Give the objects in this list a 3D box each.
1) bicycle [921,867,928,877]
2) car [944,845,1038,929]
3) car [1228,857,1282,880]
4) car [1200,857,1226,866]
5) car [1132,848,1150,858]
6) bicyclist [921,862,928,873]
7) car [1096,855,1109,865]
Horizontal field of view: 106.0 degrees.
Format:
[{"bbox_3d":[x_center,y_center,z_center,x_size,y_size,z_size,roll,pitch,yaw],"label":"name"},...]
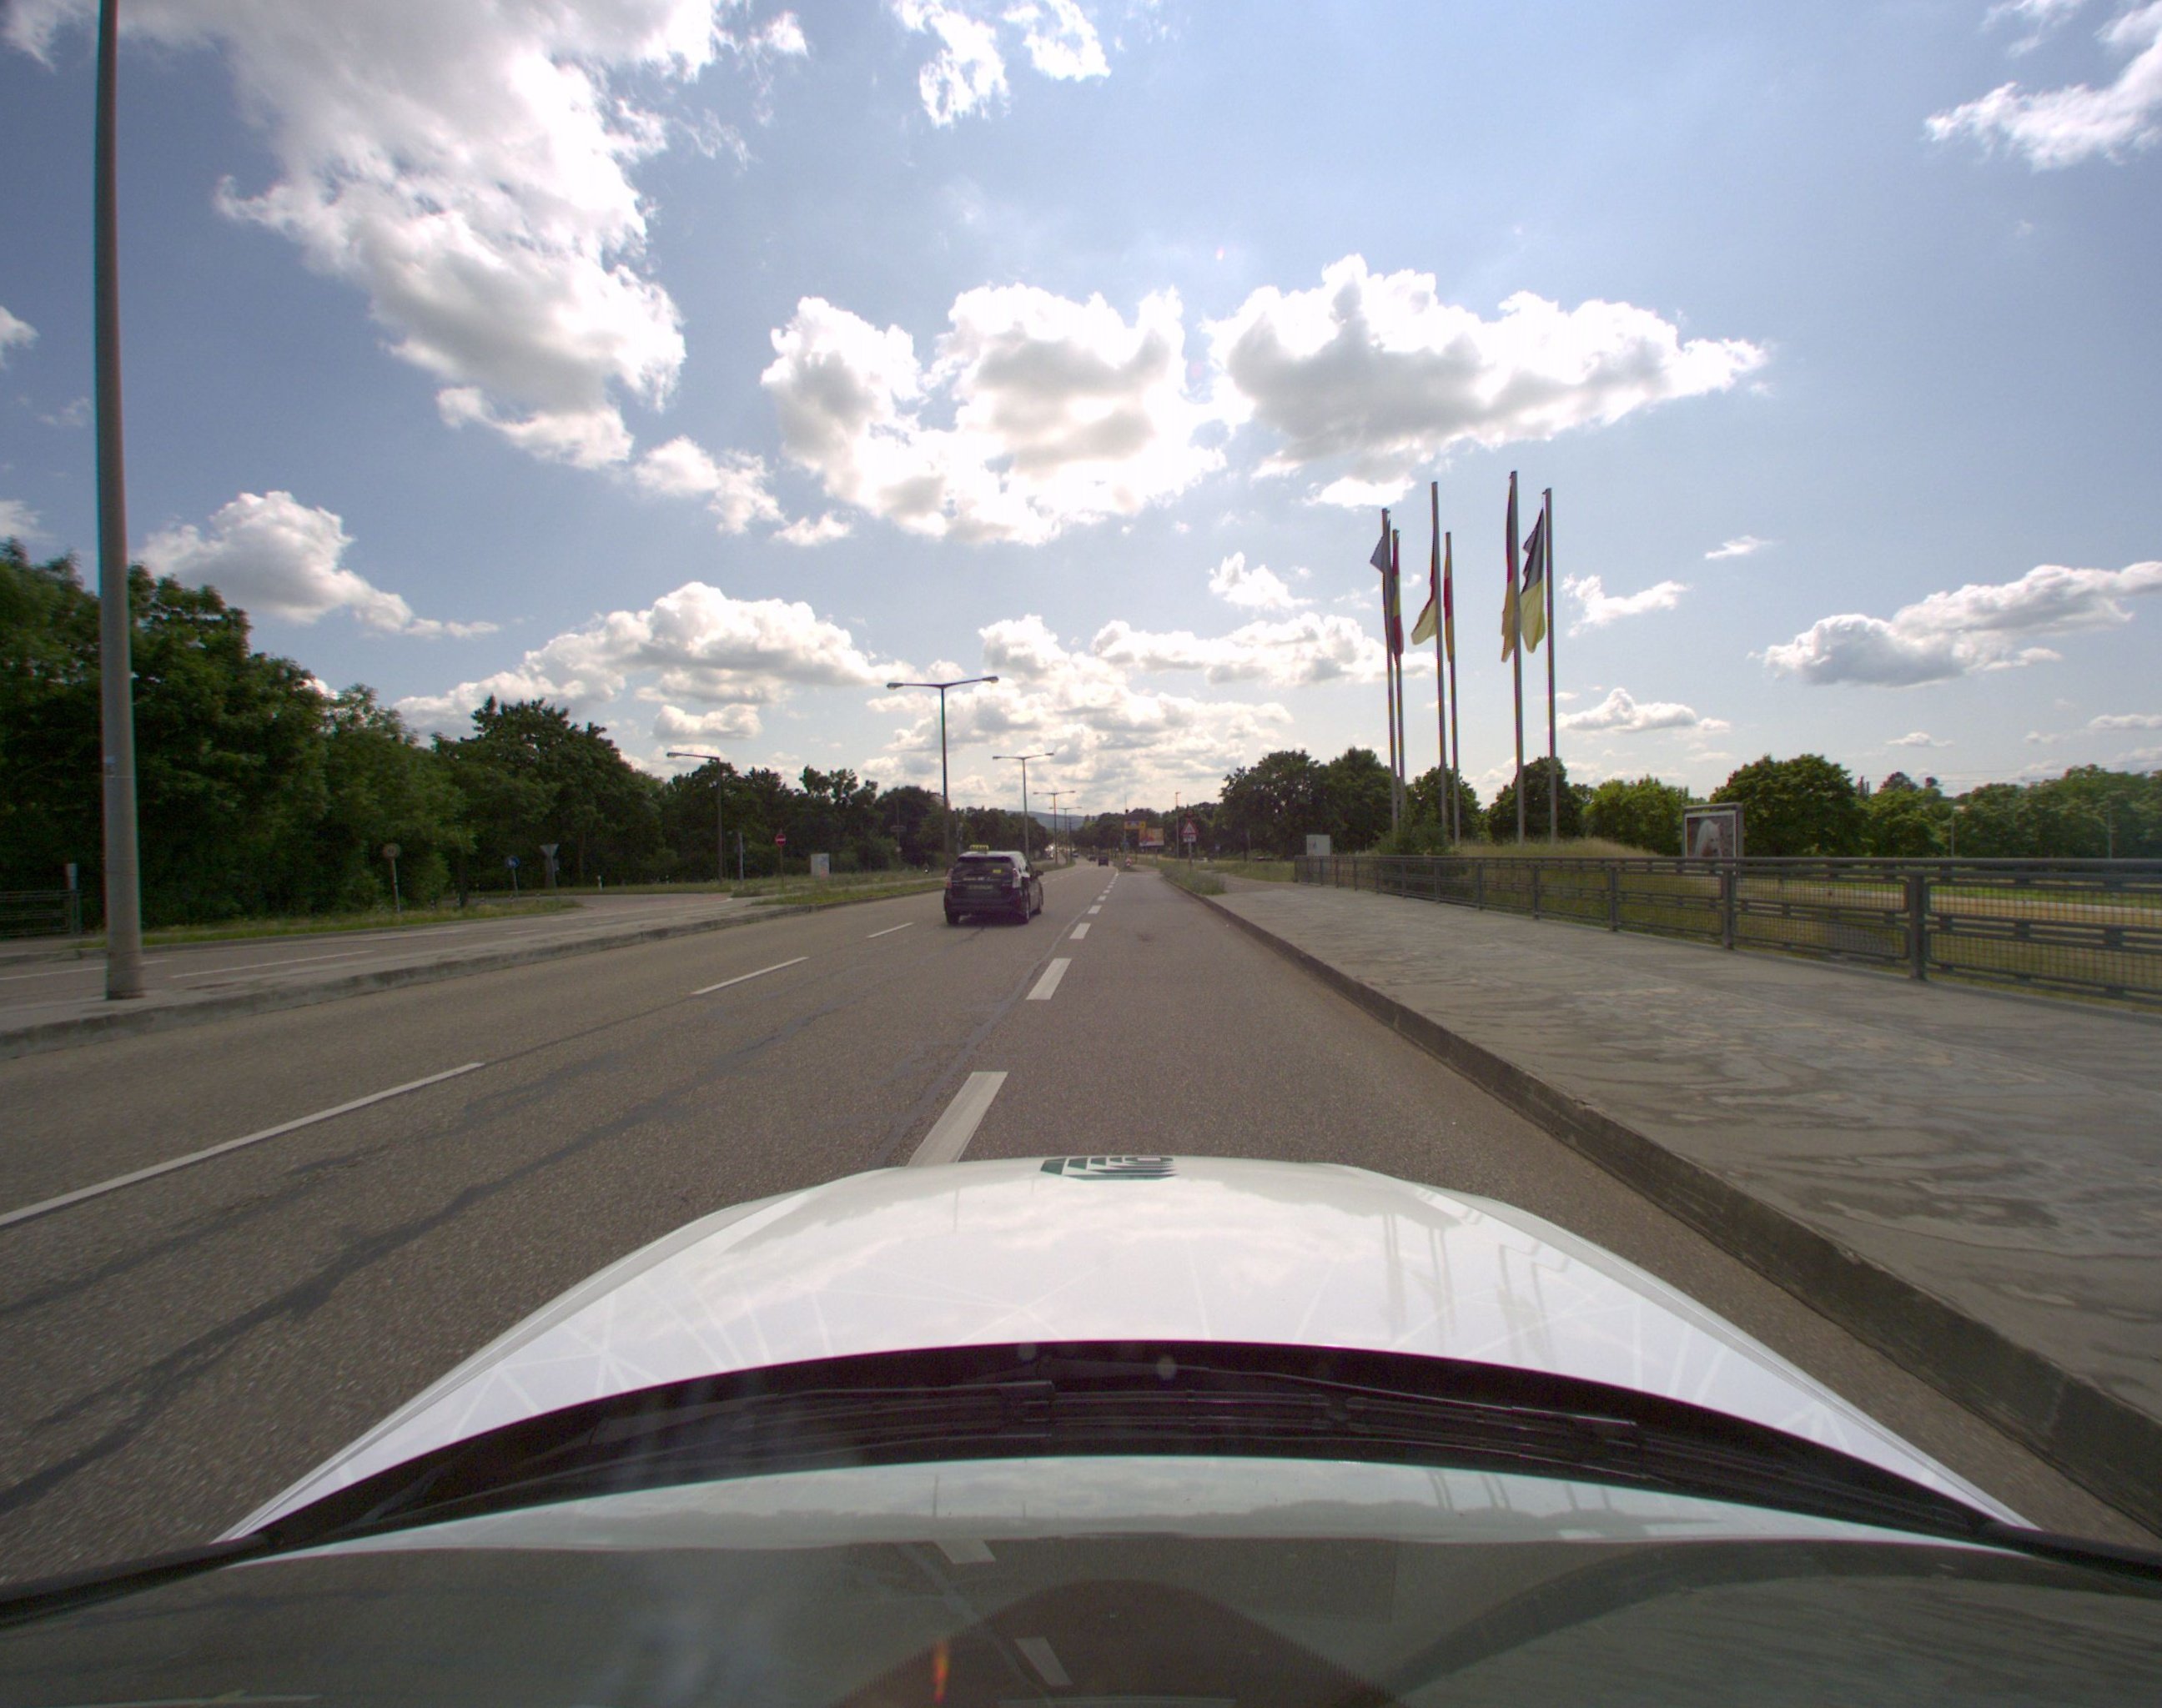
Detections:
[{"bbox_3d":[-18.385,2.129,95.693,0.430,1.068,1.907,0,1,-1],"label":"bicycle"},{"bbox_3d":[-1.935,0.640,18.582,1.774,1.684,3.999,0,1,-1],"label":"car"},{"bbox_3d":[13.838,1.130,64.684,4.015,1.662,1.979,-1,1,-33],"label":"car"},{"bbox_3d":[22.629,1.309,139.768,3.949,1.508,2.013,1,1,39],"label":"car"},{"bbox_3d":[11.078,-0.182,150.884,2.000,1.662,3.974,0,1,-20],"label":"car"},{"bbox_3d":[-18.391,1.618,95.709,0.519,1.272,1.107,0,1,-1],"label":"bicyclist"},{"bbox_3d":[3.679,1.050,140.494,1.987,1.662,3.999,0,1,-1],"label":"car"}]
